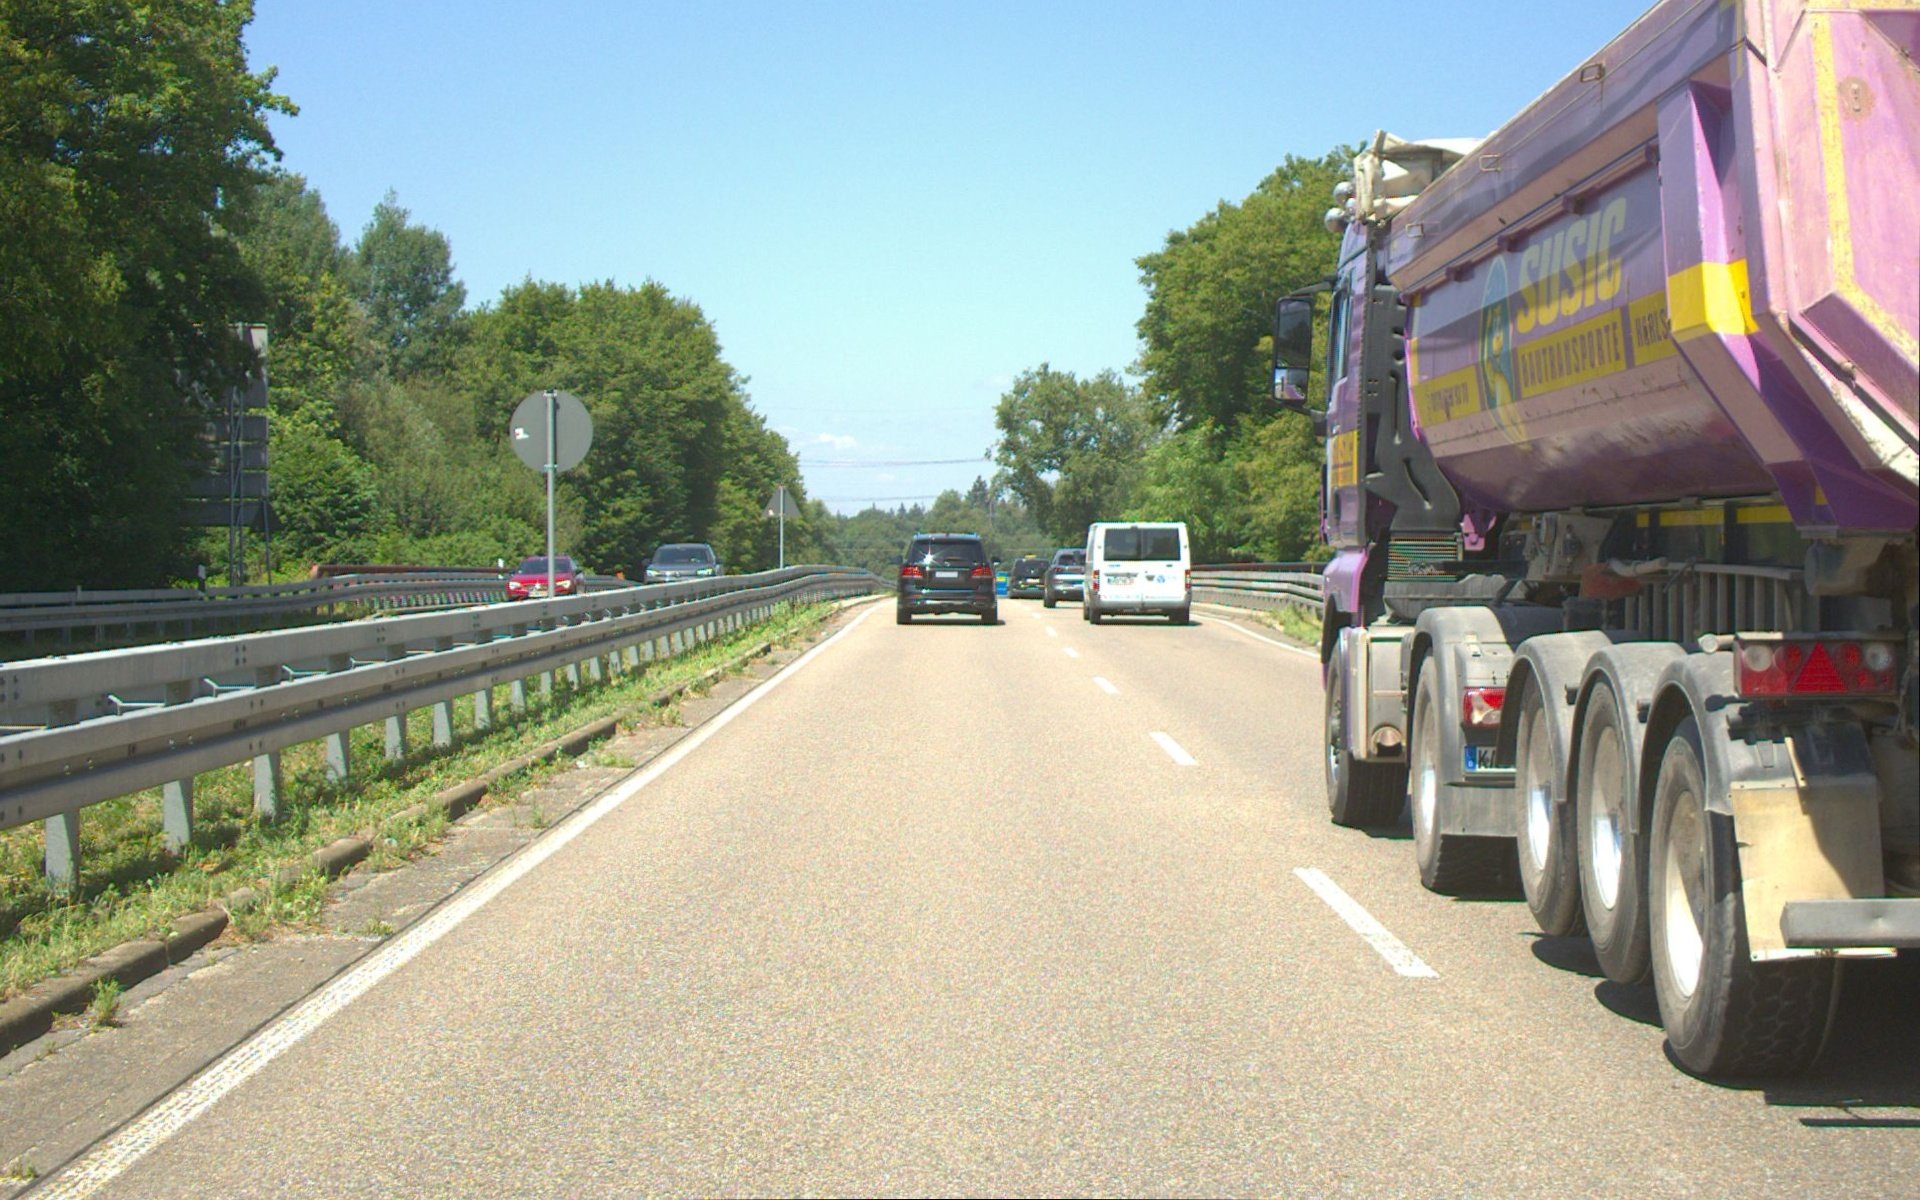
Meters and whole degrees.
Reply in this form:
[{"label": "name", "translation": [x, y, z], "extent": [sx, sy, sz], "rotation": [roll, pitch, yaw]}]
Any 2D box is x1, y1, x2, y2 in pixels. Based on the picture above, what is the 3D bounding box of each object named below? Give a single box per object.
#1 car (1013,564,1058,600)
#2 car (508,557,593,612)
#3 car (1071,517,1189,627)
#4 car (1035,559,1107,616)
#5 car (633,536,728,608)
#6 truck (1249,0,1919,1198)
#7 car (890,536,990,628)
[{"label": "car", "translation": [3.113, -0.744, 141.587], "extent": [1.603, 1.415, 3.523], "rotation": [-1, 1, -2]}, {"label": "car", "translation": [-10.838, -0.431, 91.107], "extent": [1.797, 1.386, 4.000], "rotation": [-1, 1, -1]}, {"label": "car", "translation": [3.307, -0.560, 67.589], "extent": [1.993, 2.070, 4.000], "rotation": [-1, 1, -2]}, {"label": "car", "translation": [2.848, -0.333, 88.880], "extent": [1.603, 1.415, 3.523], "rotation": [-1, 1, -2]}, {"label": "car", "translation": [-7.250, -0.754, 89.452], "extent": [1.993, 1.787, 4.748], "rotation": [-1, 1, 1]}, {"label": "truck", "translation": [3.200, -0.612, 14.345], "extent": [2.720, 3.916, 12.371], "rotation": [1, 1, -1]}, {"label": "car", "translation": [-0.409, -0.329, 66.550], "extent": [1.857, 1.666, 4.000], "rotation": [1, -1, -1]}]
